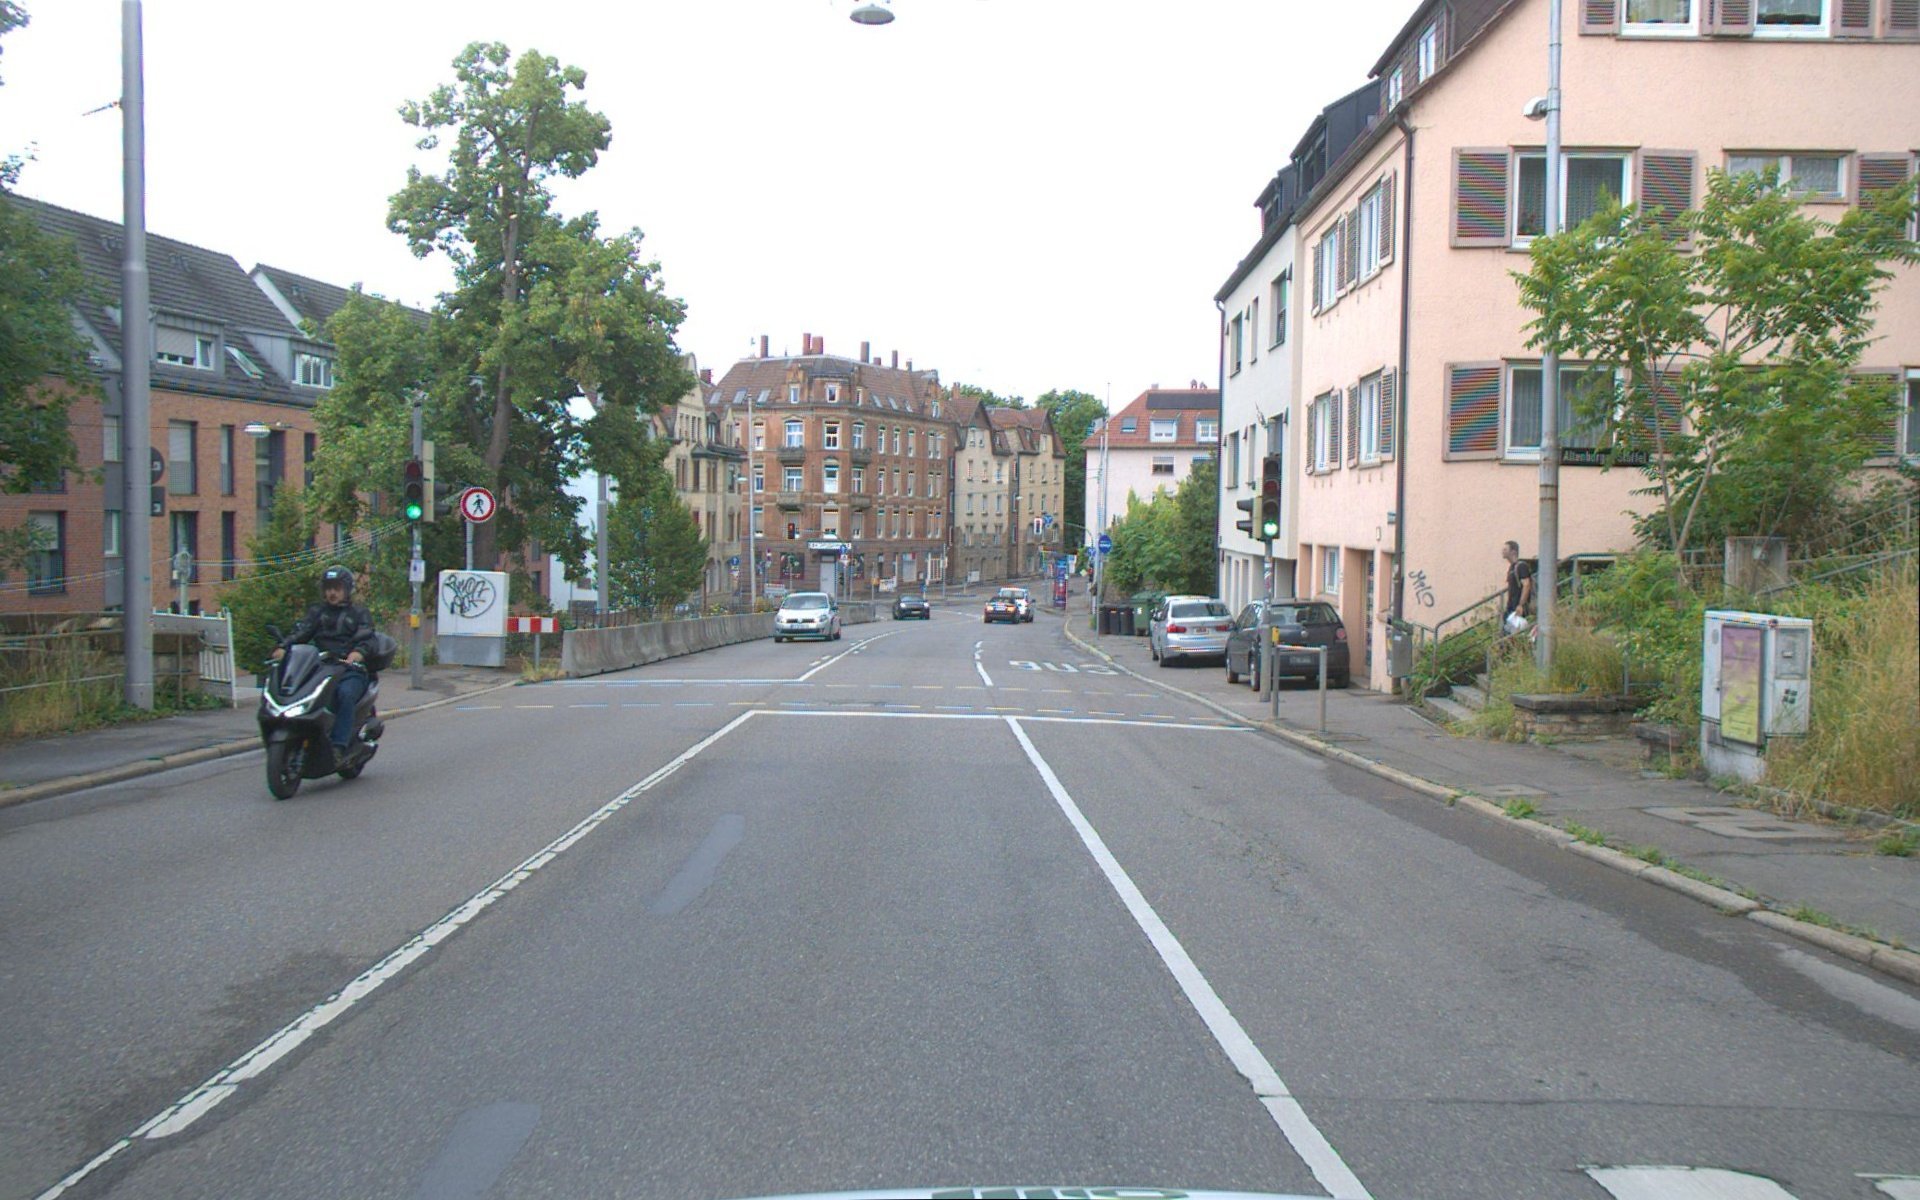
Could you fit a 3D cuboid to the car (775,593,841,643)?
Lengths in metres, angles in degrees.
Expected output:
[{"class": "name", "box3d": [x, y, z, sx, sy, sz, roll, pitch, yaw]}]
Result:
[{"class": "car", "box3d": [-4.587, 0.517, 50.499, 1.685, 1.470, 4.158, 0, 0, -1]}]

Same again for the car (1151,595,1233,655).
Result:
[{"class": "car", "box3d": [5.939, 0.600, 42.656, 1.756, 1.448, 4.006, -1, 0, 3]}]

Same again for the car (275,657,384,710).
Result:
[{"class": "car", "box3d": [-21.181, 2.781, 55.724, 1.756, 1.536, 4.003, -1, 0, 7]}]

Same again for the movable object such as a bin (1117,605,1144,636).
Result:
[{"class": "movable object such as a bin", "box3d": [5.949, 0.706, 57.823, 0.730, 1.077, 0.676, 1, -1, -16]}]

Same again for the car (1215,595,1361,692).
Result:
[{"class": "car", "box3d": [5.570, 0.707, 28.520, 1.647, 1.476, 3.999, -3, 0, 0]}]

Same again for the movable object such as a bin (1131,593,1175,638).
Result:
[{"class": "movable object such as a bin", "box3d": [6.522, 0.524, 56.032, 1.030, 1.470, 1.413, 1, -1, -15]}]

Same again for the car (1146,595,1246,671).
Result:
[{"class": "car", "box3d": [5.265, 0.685, 37.339, 1.757, 1.476, 4.720, -2, 1, 3]}]

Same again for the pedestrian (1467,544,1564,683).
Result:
[{"class": "pedestrian", "box3d": [7.174, 0.169, 21.395, 0.869, 1.725, 0.872, 2, -1, -4]}]

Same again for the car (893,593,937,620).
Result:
[{"class": "car", "box3d": [-2.728, 0.380, 101.391, 1.939, 1.602, 4.379, -1, 0, 9]}]

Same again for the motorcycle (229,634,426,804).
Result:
[{"class": "motorcycle", "box3d": [-4.863, 0.873, 12.873, 0.769, 1.165, 2.057, 0, 0, -1]}]

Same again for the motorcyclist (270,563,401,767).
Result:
[{"class": "motorcyclist", "box3d": [-4.865, 0.492, 12.930, 0.769, 1.542, 0.668, 0, 0, -1]}]

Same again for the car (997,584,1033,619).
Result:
[{"class": "car", "box3d": [3.186, 0.088, 95.382, 1.869, 1.917, 4.002, 2, 0, 4]}]

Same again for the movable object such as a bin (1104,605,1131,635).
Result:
[{"class": "movable object such as a bin", "box3d": [5.585, 0.708, 58.628, 0.730, 1.077, 0.676, 1, -1, -16]}]

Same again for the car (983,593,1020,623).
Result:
[{"class": "car", "box3d": [2.257, 0.406, 88.656, 1.778, 1.455, 4.002, 2, 1, 4]}]
